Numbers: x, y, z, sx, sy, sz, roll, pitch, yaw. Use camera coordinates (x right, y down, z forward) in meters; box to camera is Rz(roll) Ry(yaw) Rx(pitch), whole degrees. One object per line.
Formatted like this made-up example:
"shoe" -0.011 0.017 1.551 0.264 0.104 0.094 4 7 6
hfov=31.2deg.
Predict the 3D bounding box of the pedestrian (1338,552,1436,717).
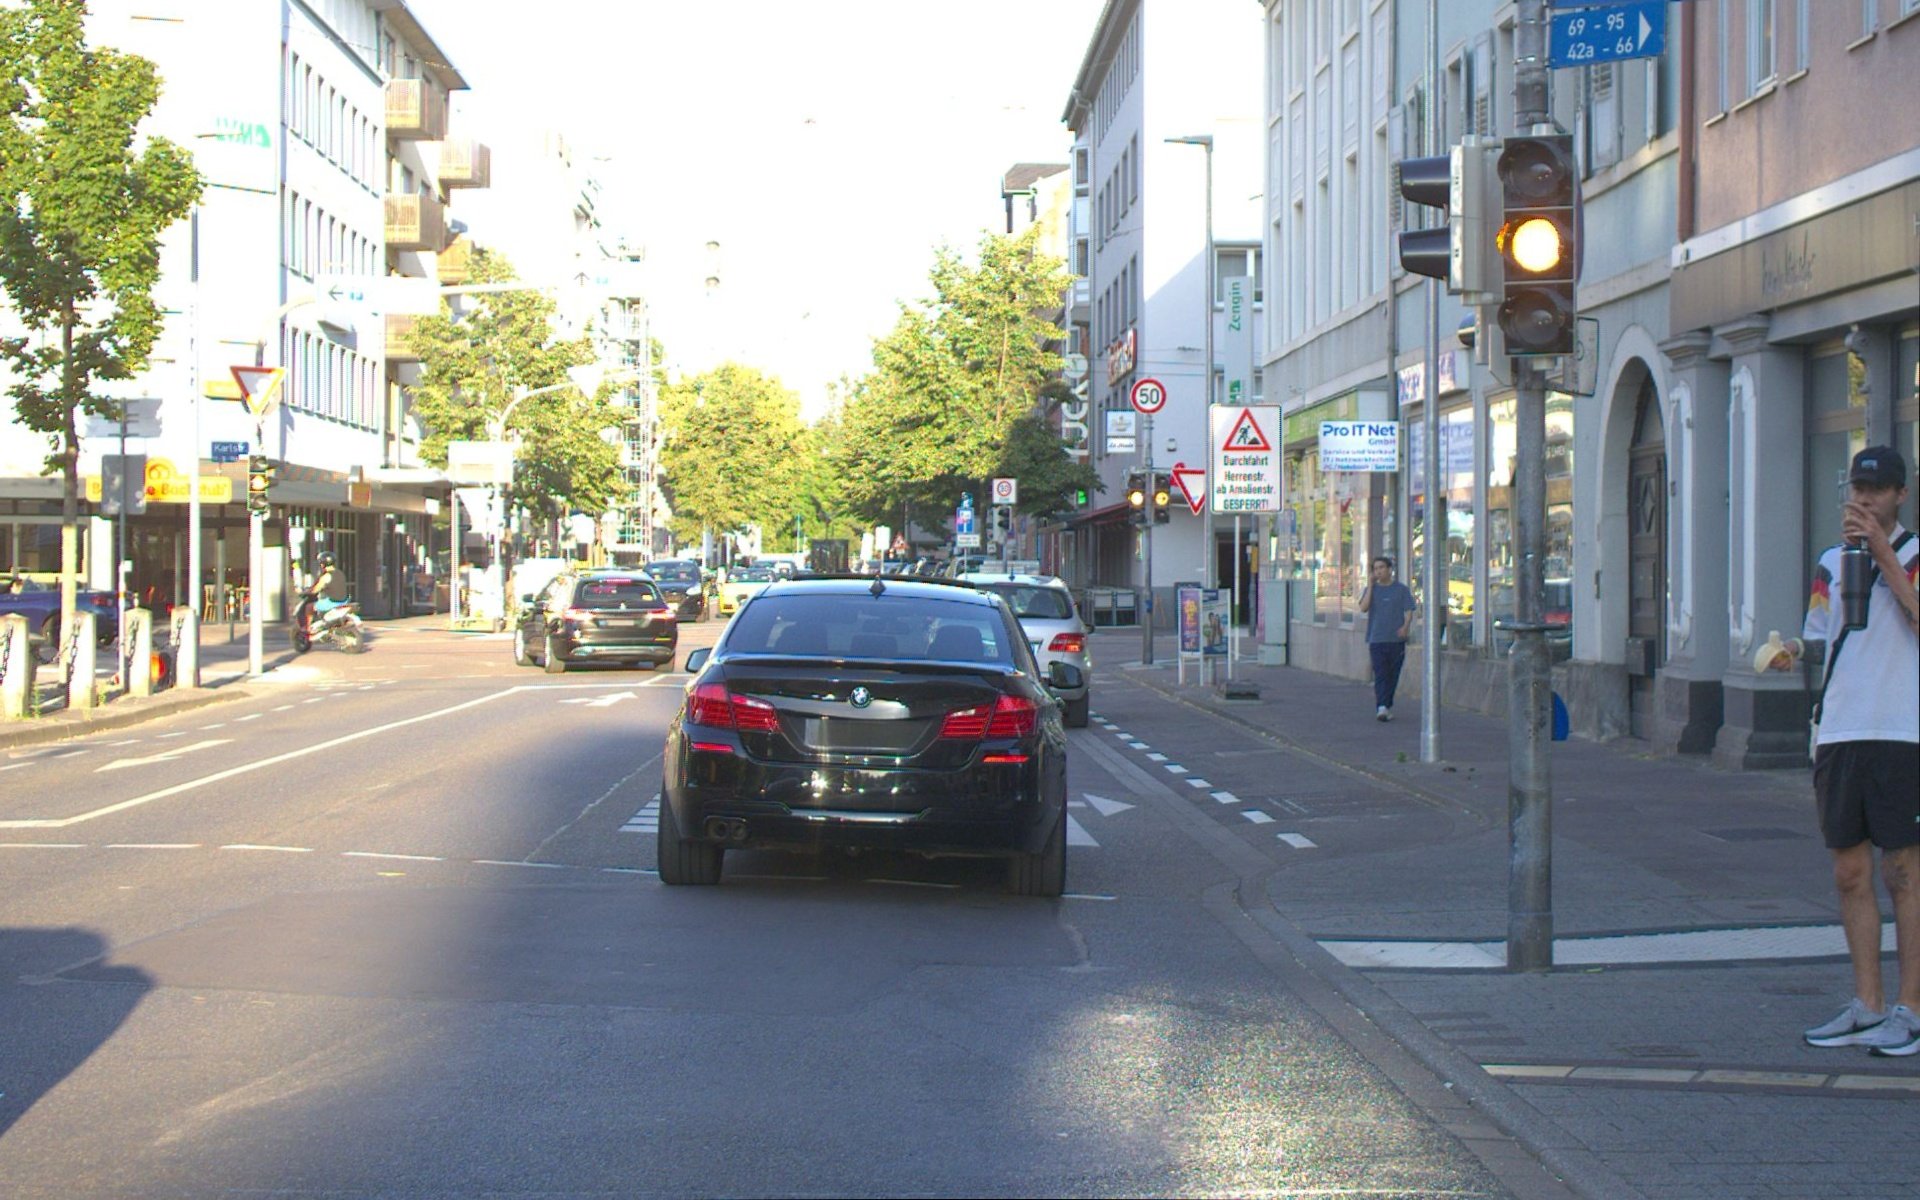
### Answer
"pedestrian" 4.291 0.335 34.589 0.823 1.636 0.871 0 0 -3

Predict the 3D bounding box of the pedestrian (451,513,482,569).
"pedestrian" -14.734 -1.756 102.714 0.823 1.671 0.871 0 0 -2

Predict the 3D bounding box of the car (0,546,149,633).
"car" -16.749 -0.215 61.331 3.988 1.481 1.999 1 1 8

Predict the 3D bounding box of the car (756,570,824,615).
"car" -5.082 -0.228 102.463 1.733 1.288 4.001 0 1 -7

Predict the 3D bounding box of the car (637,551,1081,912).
"car" -0.527 0.540 17.097 1.903 1.535 4.450 1 1 -2

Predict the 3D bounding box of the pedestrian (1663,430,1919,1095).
"pedestrian" 2.765 0.457 10.378 0.938 1.891 0.826 0 1 -32

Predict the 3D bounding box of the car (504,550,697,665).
"car" -5.352 0.078 50.710 1.872 1.590 4.451 1 1 -19

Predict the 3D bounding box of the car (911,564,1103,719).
"car" 0.458 0.411 37.738 1.832 1.570 4.101 1 1 -3

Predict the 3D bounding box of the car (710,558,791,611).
"car" -5.845 -0.453 95.682 1.993 1.437 4.001 0 1 -7

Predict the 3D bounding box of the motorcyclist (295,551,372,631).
"motorcyclist" -10.505 -0.146 57.638 0.993 1.315 0.766 1 1 33

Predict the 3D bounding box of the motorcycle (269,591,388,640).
"motorcycle" -10.593 0.256 57.625 2.030 0.778 0.662 1 1 31

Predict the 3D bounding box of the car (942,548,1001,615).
"car" 0.322 -0.534 98.951 1.421 1.848 3.053 1 0 -4

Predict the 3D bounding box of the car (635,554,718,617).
"car" -7.461 -0.402 90.146 1.993 1.612 4.001 0 1 -7
